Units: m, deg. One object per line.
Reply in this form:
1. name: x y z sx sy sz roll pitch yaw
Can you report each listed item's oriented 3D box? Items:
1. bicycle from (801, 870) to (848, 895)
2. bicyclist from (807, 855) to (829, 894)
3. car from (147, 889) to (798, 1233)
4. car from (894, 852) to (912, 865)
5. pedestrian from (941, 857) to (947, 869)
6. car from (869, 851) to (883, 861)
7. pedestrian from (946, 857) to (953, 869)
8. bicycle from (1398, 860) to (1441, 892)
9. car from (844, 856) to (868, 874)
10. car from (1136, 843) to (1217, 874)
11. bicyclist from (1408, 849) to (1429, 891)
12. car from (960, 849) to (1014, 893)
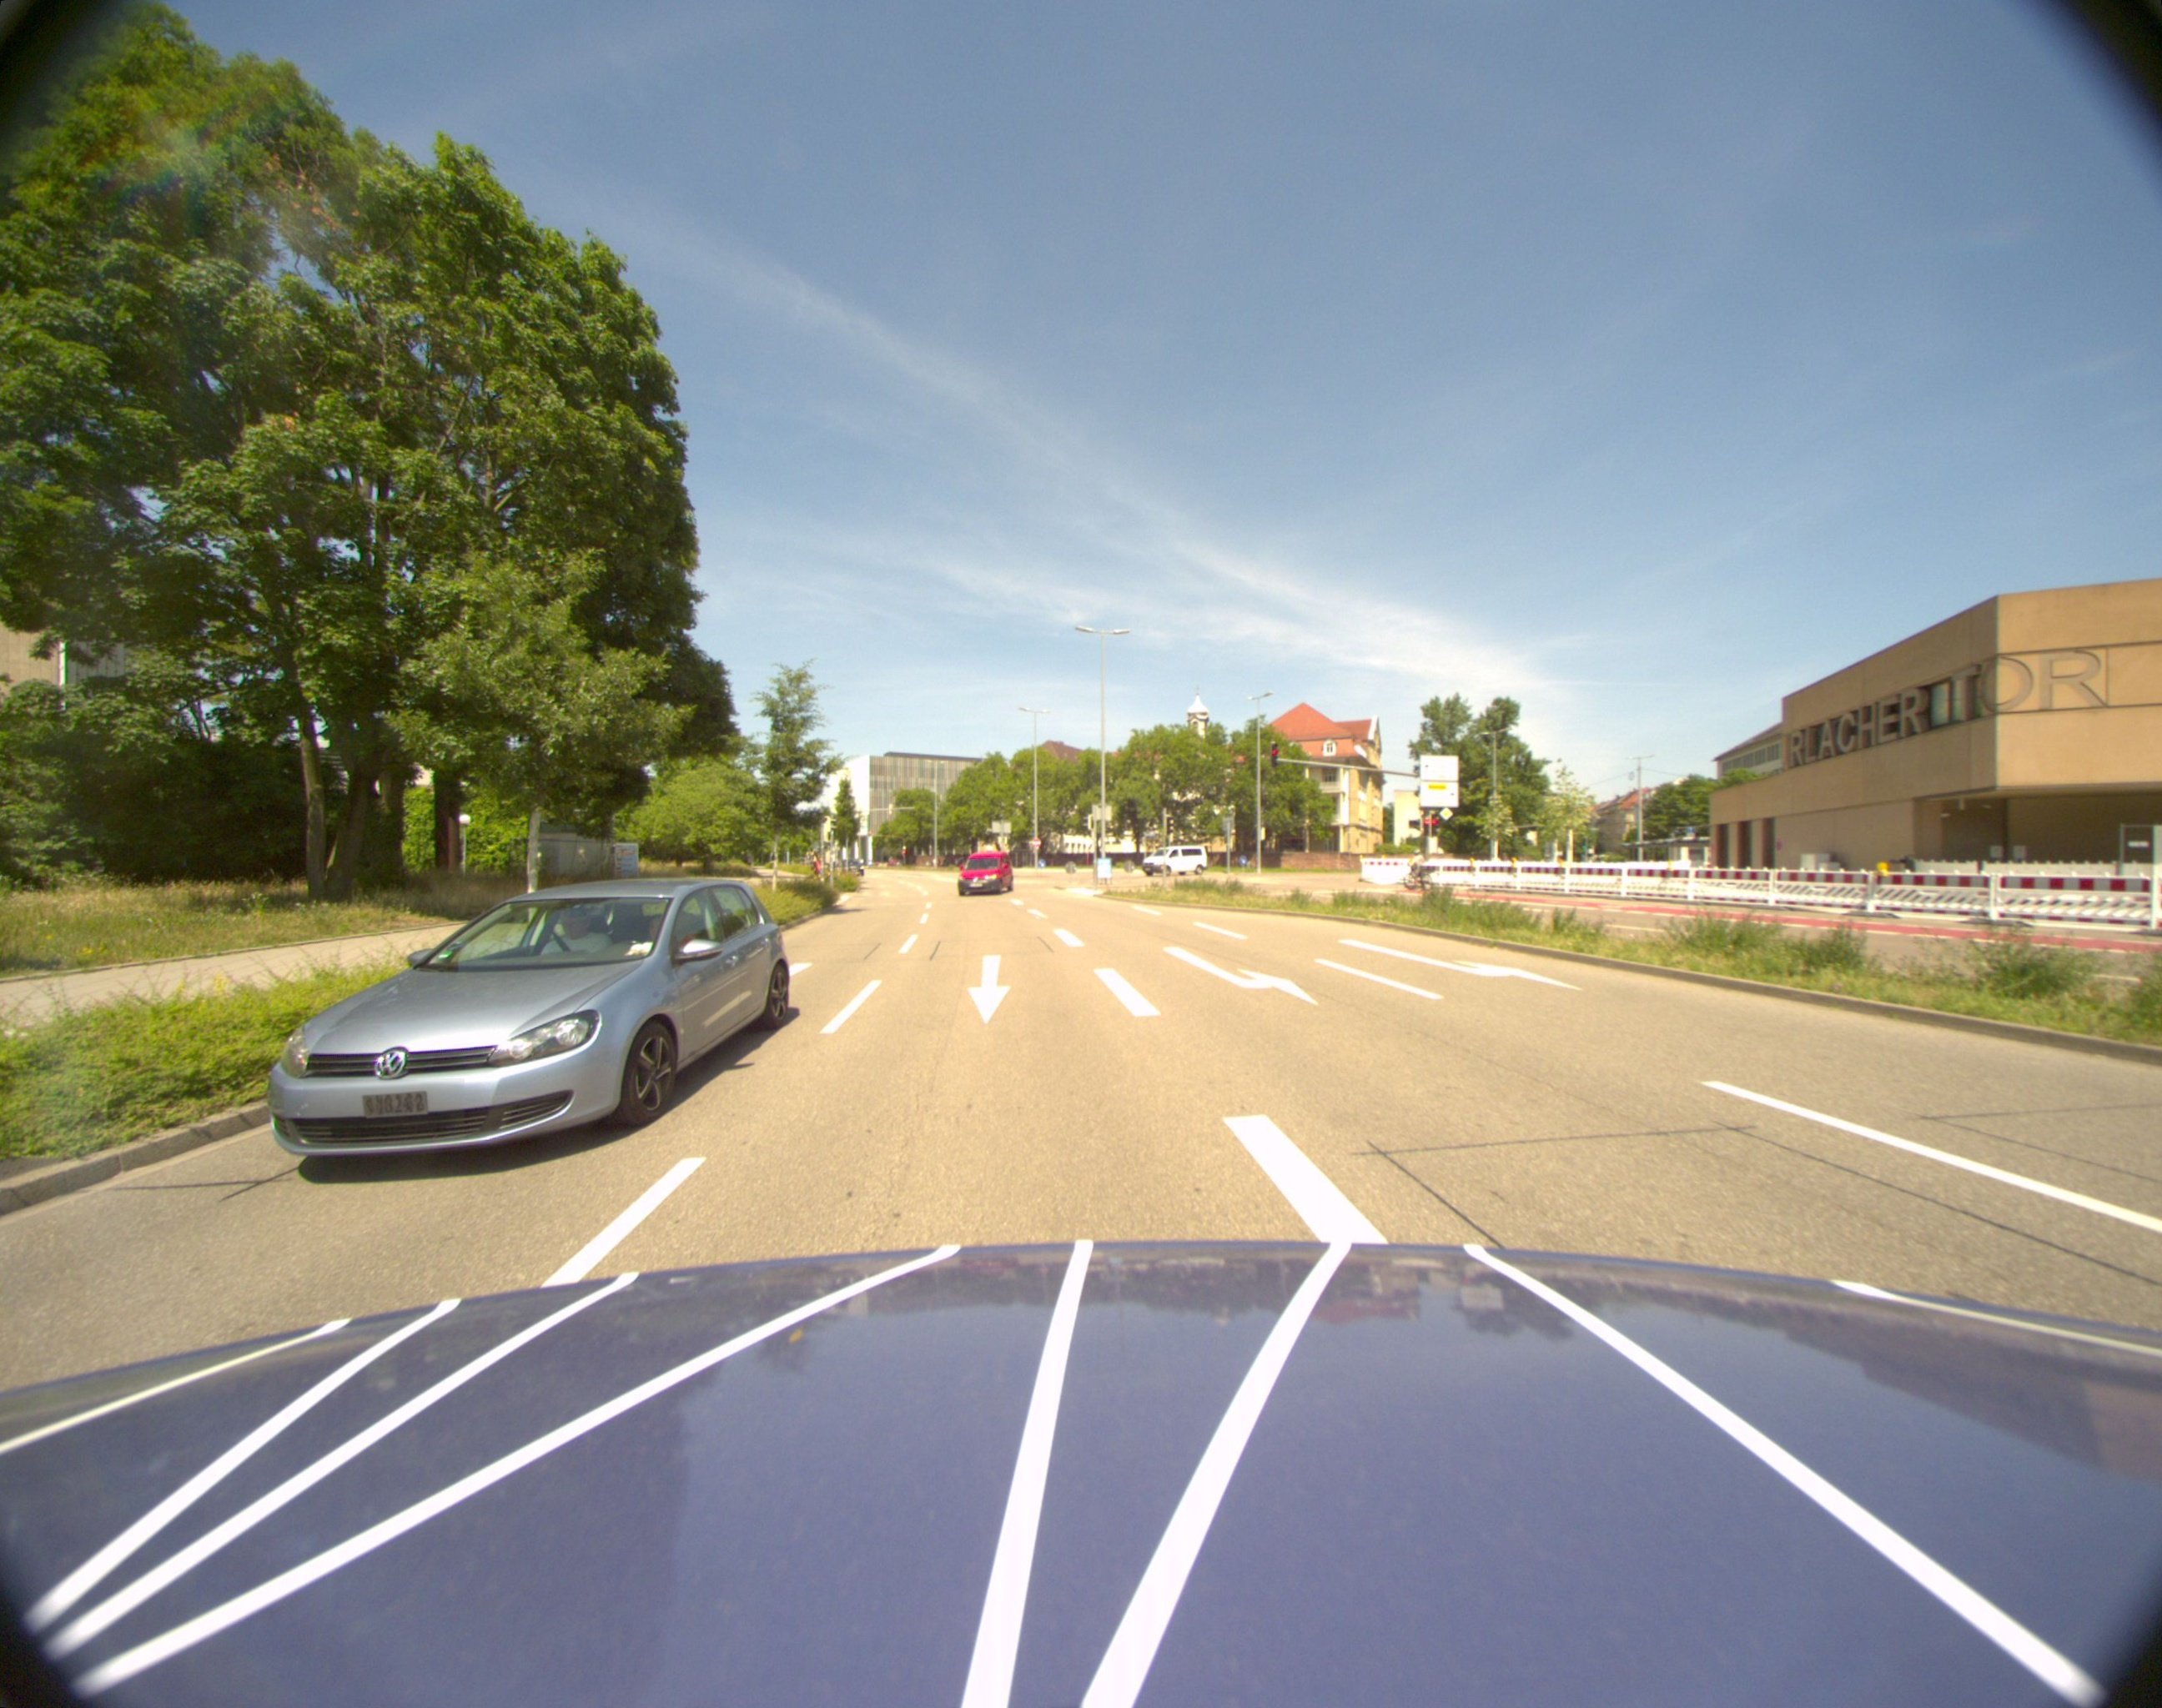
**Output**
1. bicycle: -11.317 1.237 33.523 1.992 1.039 0.559 1 -1 18
2. bicyclist: -11.644 0.887 33.634 0.701 1.705 0.552 0 -1 19
3. car: -3.592 1.059 5.602 1.833 1.406 3.992 0 0 -5
4. car: -29.958 0.837 127.968 2.003 2.001 4.206 0 -2 -28
5. pedestrian: -23.665 1.597 131.136 0.790 2.001 0.962 0 -2 -28
6. car: -36.201 0.374 134.069 1.784 1.673 3.993 0 -2 -26
7. pedestrian: -22.792 1.576 131.672 0.790 2.001 0.838 0 -2 -28
8. bicycle: 13.009 0.820 29.247 0.524 1.174 1.896 0 1 -12
9. car: -21.204 1.096 71.470 1.711 1.576 4.549 0 -2 -23
10. car: 6.586 0.333 52.017 5.406 1.973 1.996 0 -2 -32
11. bicyclist: 12.996 0.611 29.274 0.531 1.570 0.498 -1 1 -12
12. car: -3.955 0.751 32.674 1.832 1.755 4.280 -1 -2 -1
